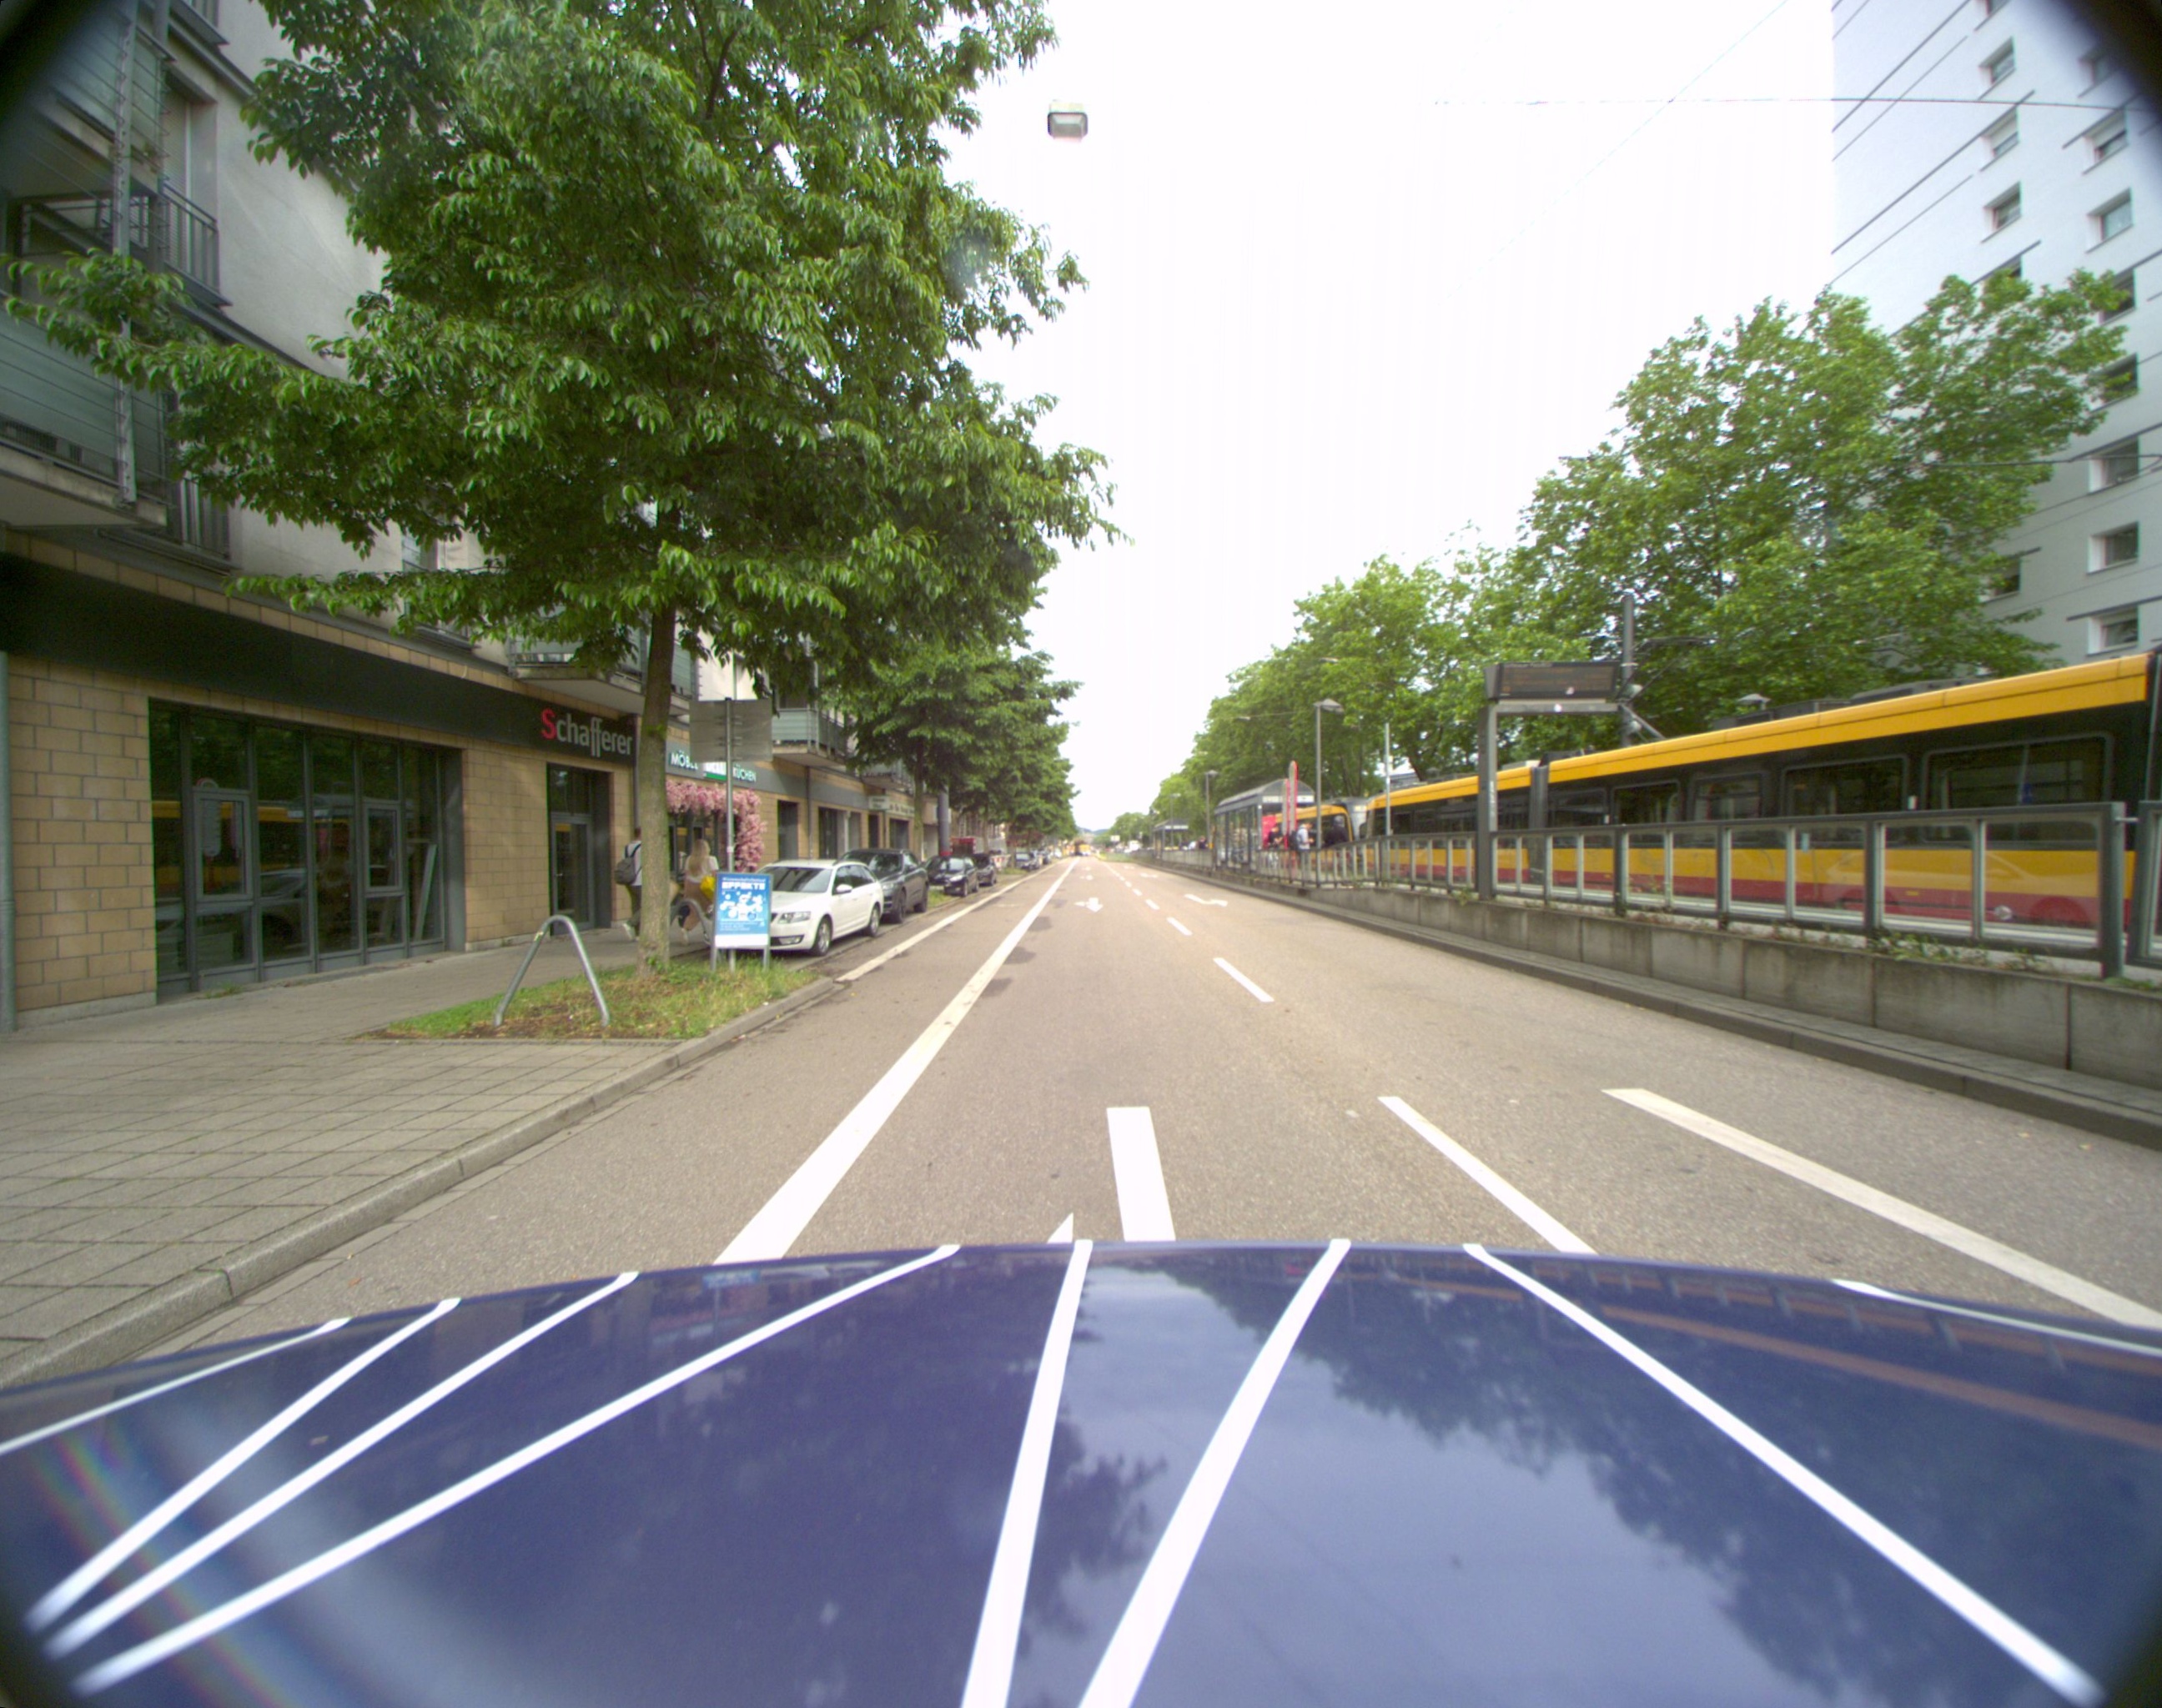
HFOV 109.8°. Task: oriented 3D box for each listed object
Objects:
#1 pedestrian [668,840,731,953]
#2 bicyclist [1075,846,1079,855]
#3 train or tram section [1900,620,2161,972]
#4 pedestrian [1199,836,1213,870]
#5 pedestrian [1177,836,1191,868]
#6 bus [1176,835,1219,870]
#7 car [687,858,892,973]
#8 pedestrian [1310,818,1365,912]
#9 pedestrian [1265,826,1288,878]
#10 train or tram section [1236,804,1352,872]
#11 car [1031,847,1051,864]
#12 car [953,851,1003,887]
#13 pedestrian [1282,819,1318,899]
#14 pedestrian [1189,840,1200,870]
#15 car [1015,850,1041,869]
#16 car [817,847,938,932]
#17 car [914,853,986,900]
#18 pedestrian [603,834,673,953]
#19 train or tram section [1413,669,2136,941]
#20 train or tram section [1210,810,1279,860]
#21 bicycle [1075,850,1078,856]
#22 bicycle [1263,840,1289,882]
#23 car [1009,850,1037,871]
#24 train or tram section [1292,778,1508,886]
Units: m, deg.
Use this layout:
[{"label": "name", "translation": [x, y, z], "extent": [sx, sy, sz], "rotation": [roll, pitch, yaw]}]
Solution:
[{"label": "pedestrian", "translation": [-6.204, 0.666, 12.384], "extent": [0.617, 1.795, 0.737], "rotation": [0, 1, 2]}, {"label": "bicyclist", "translation": [-0.877, -0.725, 154.666], "extent": [0.751, 1.777, 0.838], "rotation": [-2, 1, 1]}, {"label": "train or tram section", "translation": [12.446, -0.552, 2.255], "extent": [3.067, 3.568, 15.846], "rotation": [-2, 1, 1]}, {"label": "pedestrian", "translation": [5.996, -0.055, 36.431], "extent": [0.513, 1.623, 0.730], "rotation": [-2, 1, 2]}, {"label": "pedestrian", "translation": [6.593, -0.150, 48.635], "extent": [0.676, 2.002, 0.588], "rotation": [-2, 1, -2]}, {"label": "bus", "translation": [7.174, -0.138, 47.161], "extent": [1.998, 2.002, 3.999], "rotation": [-2, 1, 1]}, {"label": "car", "translation": [-4.707, 0.888, 13.011], "extent": [1.680, 1.490, 4.389], "rotation": [2, 1, 2]}, {"label": "pedestrian", "translation": [5.693, 0.237, 16.878], "extent": [0.756, 2.002, 0.816], "rotation": [-3, 2, -36]}, {"label": "pedestrian", "translation": [6.231, -0.067, 24.222], "extent": [0.532, 1.623, 0.471], "rotation": [-2, 1, -2]}, {"label": "train or tram section", "translation": [13.010, -0.962, 48.638], "extent": [3.067, 3.511, 15.769], "rotation": [-2, 1, 1]}, {"label": "car", "translation": [-4.087, 0.141, 78.828], "extent": [1.837, 1.720, 4.279], "rotation": [1, 1, 0]}, {"label": "car", "translation": [-4.699, 0.630, 35.140], "extent": [1.802, 1.447, 4.387], "rotation": [2, 1, -1]}, {"label": "pedestrian", "translation": [5.698, 0.124, 19.739], "extent": [0.753, 2.002, 0.819], "rotation": [-2, 2, 24]}, {"label": "pedestrian", "translation": [6.187, 0.038, 41.392], "extent": [0.480, 1.623, 0.392], "rotation": [-2, 1, 2]}, {"label": "car", "translation": [-4.312, 0.444, 62.436], "extent": [1.755, 1.452, 4.279], "rotation": [1, 1, 0]}, {"label": "car", "translation": [-4.745, 0.734, 18.425], "extent": [1.716, 1.707, 4.710], "rotation": [2, 1, -1]}, {"label": "car", "translation": [-4.612, 0.738, 27.379], "extent": [1.680, 1.433, 4.407], "rotation": [2, 1, 2]}, {"label": "pedestrian", "translation": [-7.231, 0.626, 12.433], "extent": [0.676, 1.880, 0.737], "rotation": [0, 1, 2]}, {"label": "train or tram section", "translation": [12.630, -0.769, 17.803], "extent": [3.067, 3.511, 15.292], "rotation": [-2, 1, 1]}, {"label": "train or tram section", "translation": [13.208, -1.503, 62.786], "extent": [3.100, 3.541, 12.537], "rotation": [-2, 1, 1]}, {"label": "bicycle", "translation": [-0.929, -0.214, 154.805], "extent": [0.613, 1.116, 2.050], "rotation": [-2, 1, 1]}, {"label": "bicycle", "translation": [5.896, 0.189, 23.032], "extent": [0.420, 1.215, 1.289], "rotation": [-2, 1, 0]}, {"label": "car", "translation": [-4.287, 0.442, 56.523], "extent": [1.755, 1.452, 4.279], "rotation": [1, 1, 0]}, {"label": "train or tram section", "translation": [12.829, -0.849, 33.114], "extent": [3.067, 3.511, 15.292], "rotation": [-2, 1, 1]}]
